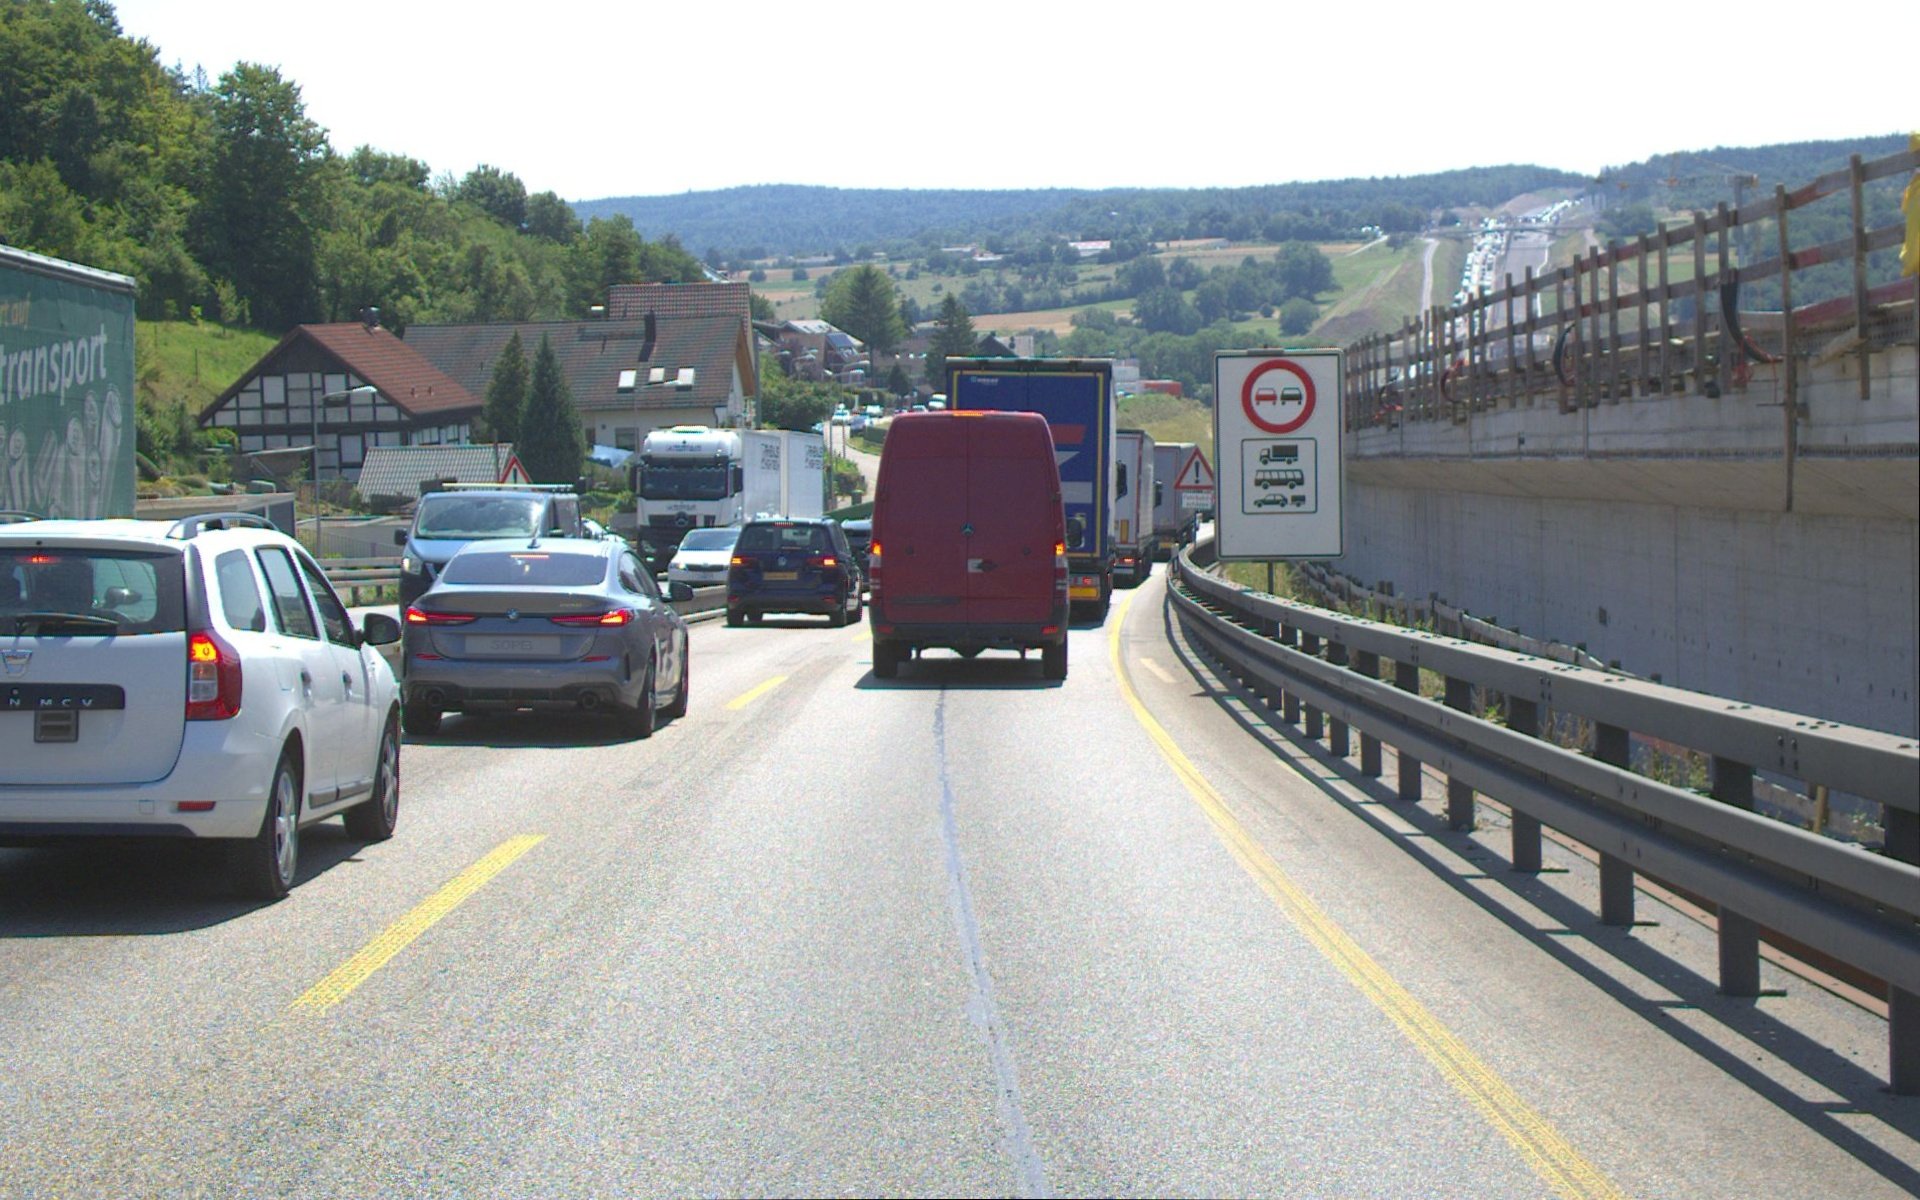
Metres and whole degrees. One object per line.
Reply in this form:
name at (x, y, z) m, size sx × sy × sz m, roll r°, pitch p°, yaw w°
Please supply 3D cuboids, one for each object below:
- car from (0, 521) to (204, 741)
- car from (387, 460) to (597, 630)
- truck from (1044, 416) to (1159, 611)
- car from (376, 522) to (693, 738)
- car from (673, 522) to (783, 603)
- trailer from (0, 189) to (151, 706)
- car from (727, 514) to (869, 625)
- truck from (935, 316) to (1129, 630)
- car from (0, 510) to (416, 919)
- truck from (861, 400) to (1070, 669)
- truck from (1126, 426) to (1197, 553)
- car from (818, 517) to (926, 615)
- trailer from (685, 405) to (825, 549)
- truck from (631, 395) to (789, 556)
car at (-6.987, 0.184, 25.170) m, size 1.902 × 1.457 × 4.757 m, roll 0°, pitch 0°, yaw -1°
car at (-6.255, -0.720, 46.476) m, size 1.993 × 2.165 × 4.832 m, roll 0°, pitch 0°, yaw 2°
truck at (3.739, -2.155, 89.467) m, size 2.786 × 4.799 × 9.684 m, roll 0°, pitch 0°, yaw 3°
car at (-3.070, 0.168, 25.571) m, size 1.794 × 1.480 × 4.050 m, roll 0°, pitch 1°, yaw 1°
car at (-4.691, -0.743, 70.028) m, size 1.582 × 1.516 × 4.153 m, roll 0°, pitch -1°, yaw 6°
trailer at (-10.053, -1.359, 28.716) m, size 2.834 × 4.625 × 14.580 m, roll 0°, pitch 0°, yaw 1°
car at (-2.415, -0.459, 52.146) m, size 1.810 × 1.602 × 3.719 m, roll 0°, pitch 0°, yaw 3°
truck at (1.337, -1.982, 57.616) m, size 2.786 × 4.799 × 9.684 m, roll 0°, pitch 0°, yaw 4°
car at (-3.483, 0.413, 14.805) m, size 1.651 × 1.478 × 4.267 m, roll -2°, pitch 1°, yaw -1°
truck at (0.108, -0.640, 35.024) m, size 1.993 × 2.570 × 4.000 m, roll 0°, pitch 0°, yaw 2°
truck at (7.096, -3.846, 120.650) m, size 1.994 × 4.366 × 3.998 m, roll 0°, pitch 0°, yaw 10°
car at (-1.668, -0.652, 66.385) m, size 1.729 × 1.832 × 3.999 m, roll 0°, pitch 0°, yaw 4°
trailer at (-6.107, -3.657, 104.004) m, size 3.004 × 4.151 × 9.016 m, roll 0°, pitch 1°, yaw 5°
truck at (-6.737, -3.372, 94.255) m, size 2.978 × 4.148 × 10.545 m, roll 0°, pitch 2°, yaw 3°
